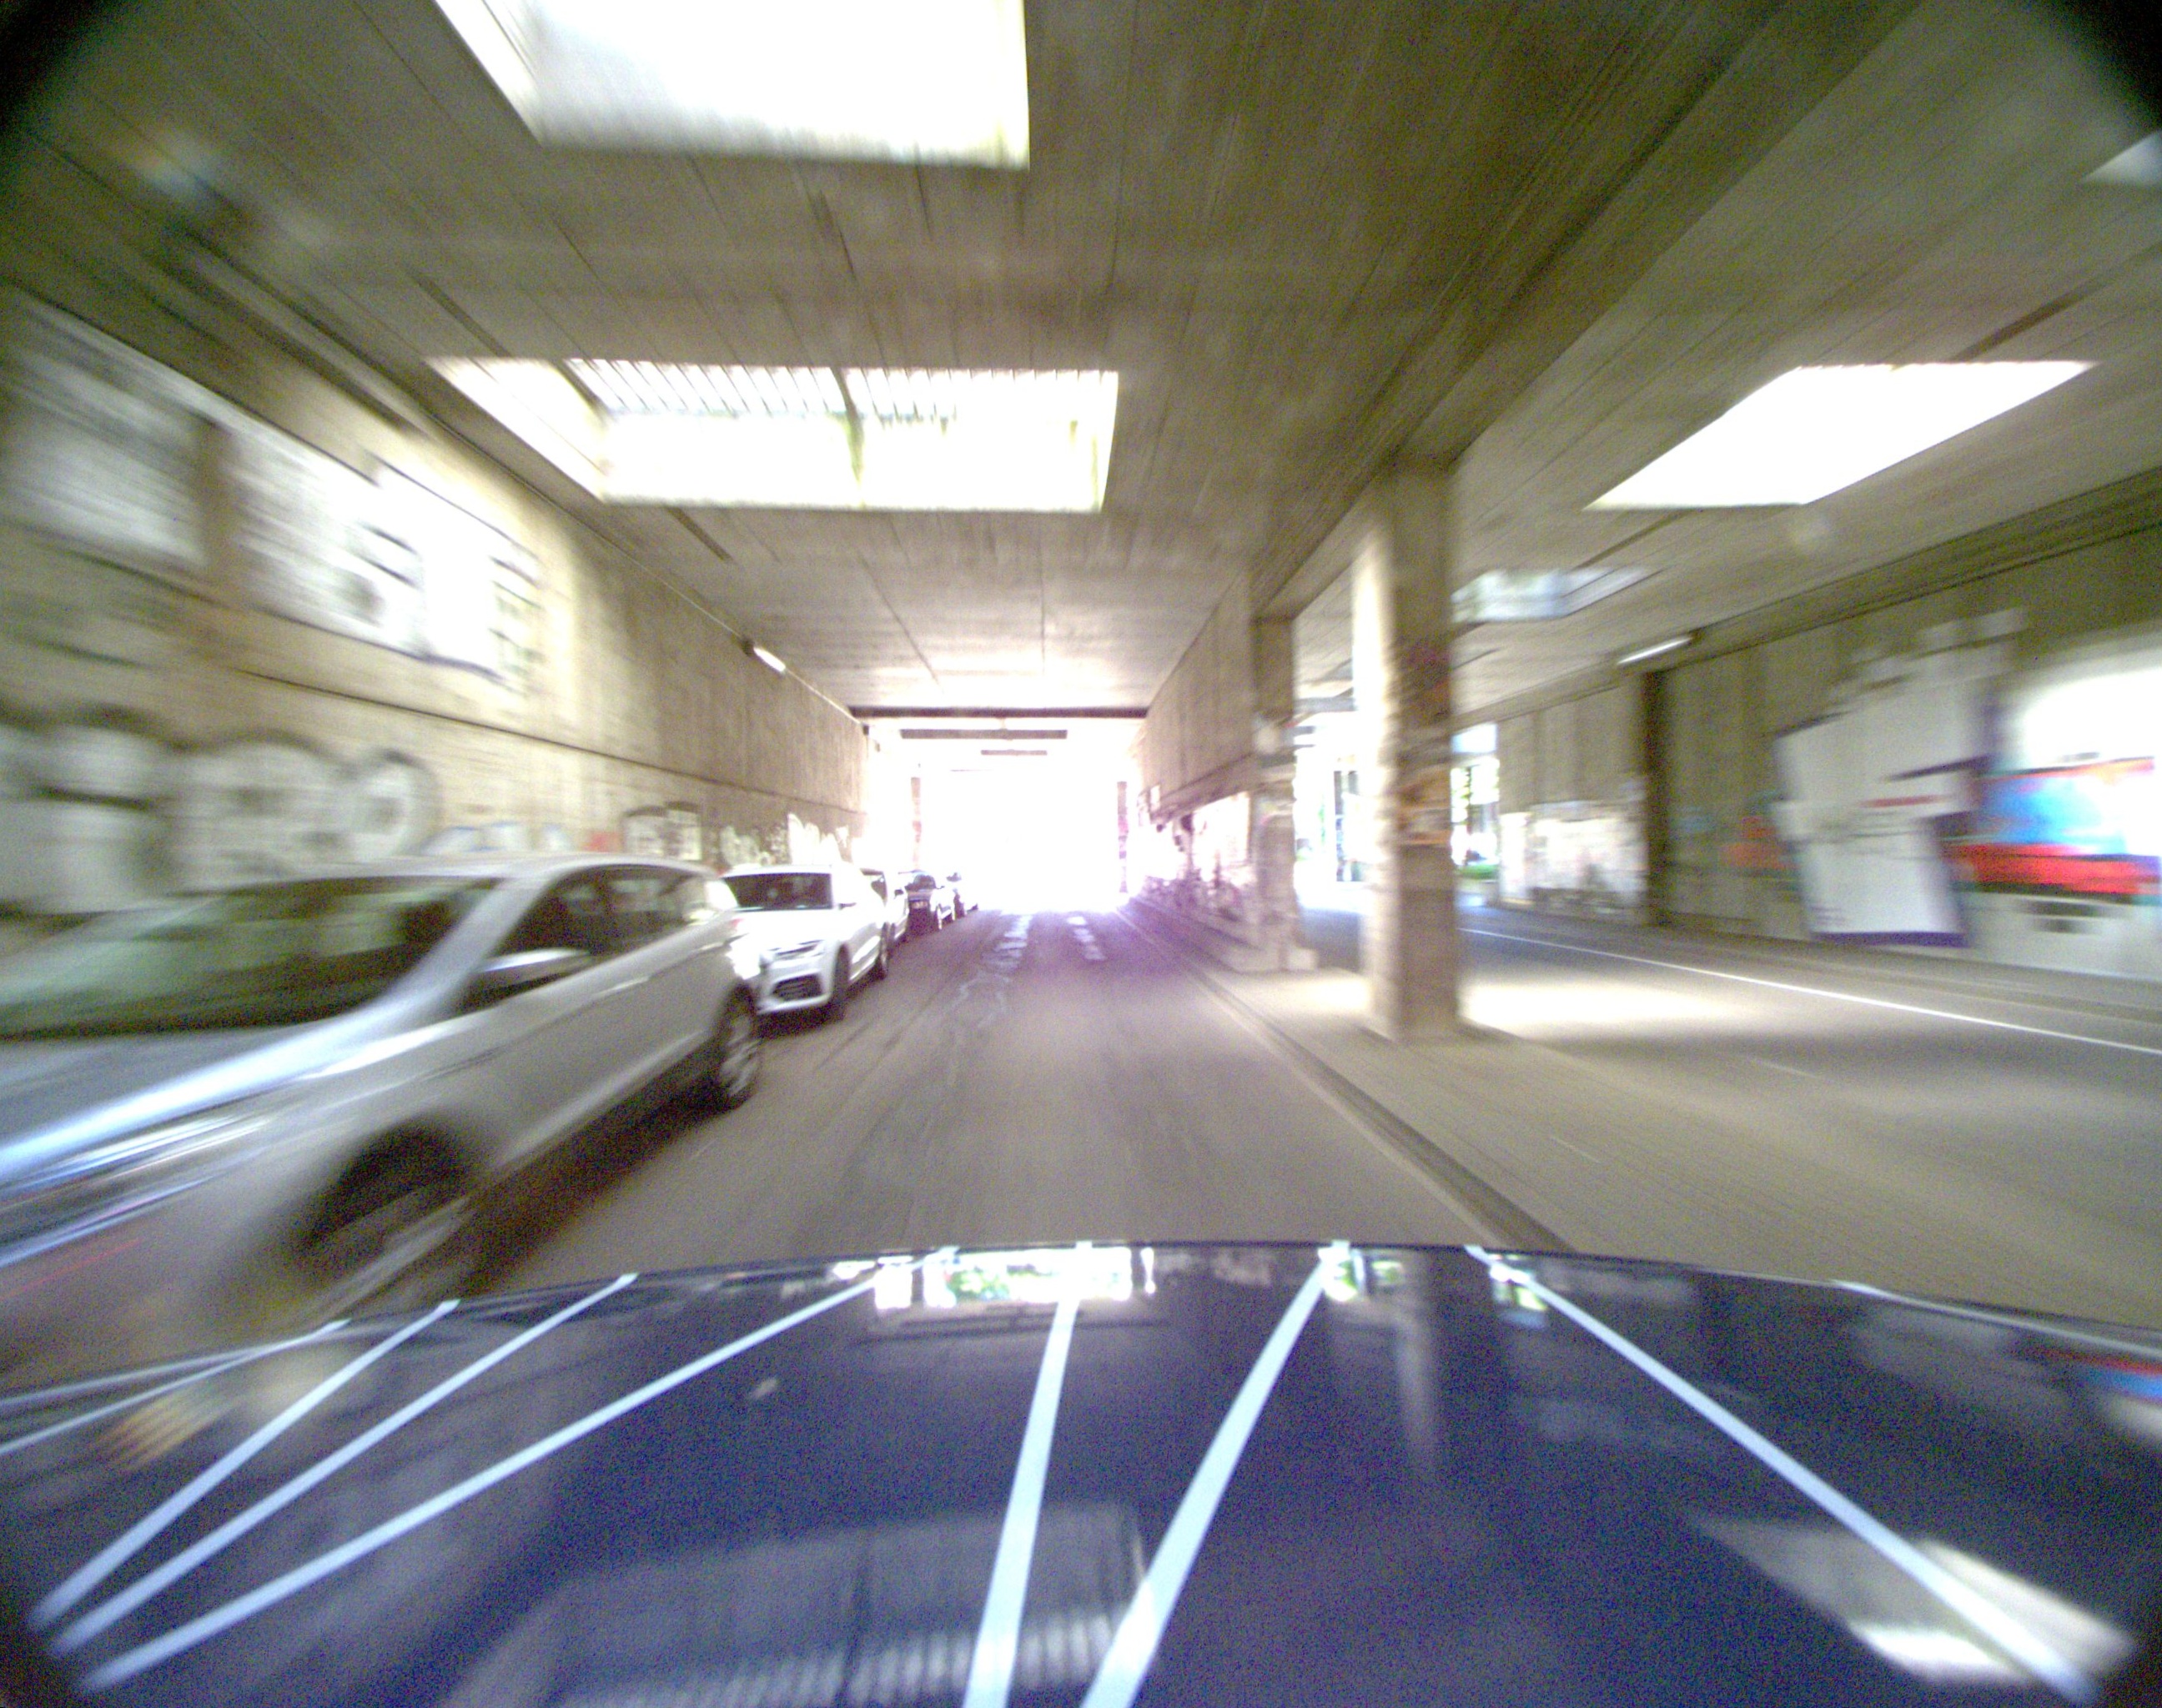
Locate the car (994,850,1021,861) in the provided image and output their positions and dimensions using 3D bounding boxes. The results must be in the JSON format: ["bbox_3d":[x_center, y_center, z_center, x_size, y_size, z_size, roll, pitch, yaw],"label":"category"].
[{"bbox_3d":[-11.425,0.172,118.561,4.001,1.576,1.817,-1,-2,-12],"label":"car"}]

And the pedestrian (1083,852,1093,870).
[{"bbox_3d":[0.623,0.579,66.508,0.632,1.567,0.532,-1,2,22],"label":"pedestrian"}]

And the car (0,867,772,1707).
[{"bbox_3d":[-3.065,0.943,3.181,1.858,1.656,4.370,-2,0,-3],"label":"car"}]

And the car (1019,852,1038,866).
[{"bbox_3d":[-6.380,0.569,92.820,1.786,1.548,3.817,-2,1,-11],"label":"car"}]

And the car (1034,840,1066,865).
[{"bbox_3d":[-3.226,-0.143,77.135,2.221,2.437,5.088,-2,1,-13],"label":"car"}]

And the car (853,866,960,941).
[{"bbox_3d":[-3.980,1.074,17.985,1.766,1.402,4.061,-1,1,-3],"label":"car"}]

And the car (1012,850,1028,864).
[{"bbox_3d":[-8.365,0.407,103.788,1.777,1.871,3.996,-2,0,-10],"label":"car"}]

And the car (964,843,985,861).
[{"bbox_3d":[-12.304,-0.221,87.509,1.998,2.017,4.299,-2,0,-12],"label":"car"}]

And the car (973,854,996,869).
[{"bbox_3d":[-9.374,0.736,73.718,1.780,1.432,3.996,2,-1,-13],"label":"car"}]

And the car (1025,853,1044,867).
[{"bbox_3d":[-5.465,0.662,88.429,1.696,1.548,3.817,-2,1,-11],"label":"car"}]

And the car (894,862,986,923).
[{"bbox_3d":[-4.090,1.074,22.761,1.856,1.424,4.606,-3,1,0],"label":"car"}]

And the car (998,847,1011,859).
[{"bbox_3d":[-12.471,-0.171,123.705,1.777,1.871,3.996,-2,1,-10],"label":"car"}]

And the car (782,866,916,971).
[{"bbox_3d":[-3.991,1.034,13.622,1.608,1.479,3.635,-1,1,-7],"label":"car"}]

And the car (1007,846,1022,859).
[{"bbox_3d":[-9.673,-0.202,110.067,1.777,1.871,3.996,-2,1,-10],"label":"car"}]

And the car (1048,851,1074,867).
[{"bbox_3d":[-1.908,0.465,71.471,1.693,1.454,3.995,-2,1,-11],"label":"car"}]

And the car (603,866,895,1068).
[{"bbox_3d":[-3.315,0.988,8.537,1.735,1.537,4.153,-1,1,-5],"label":"car"}]
